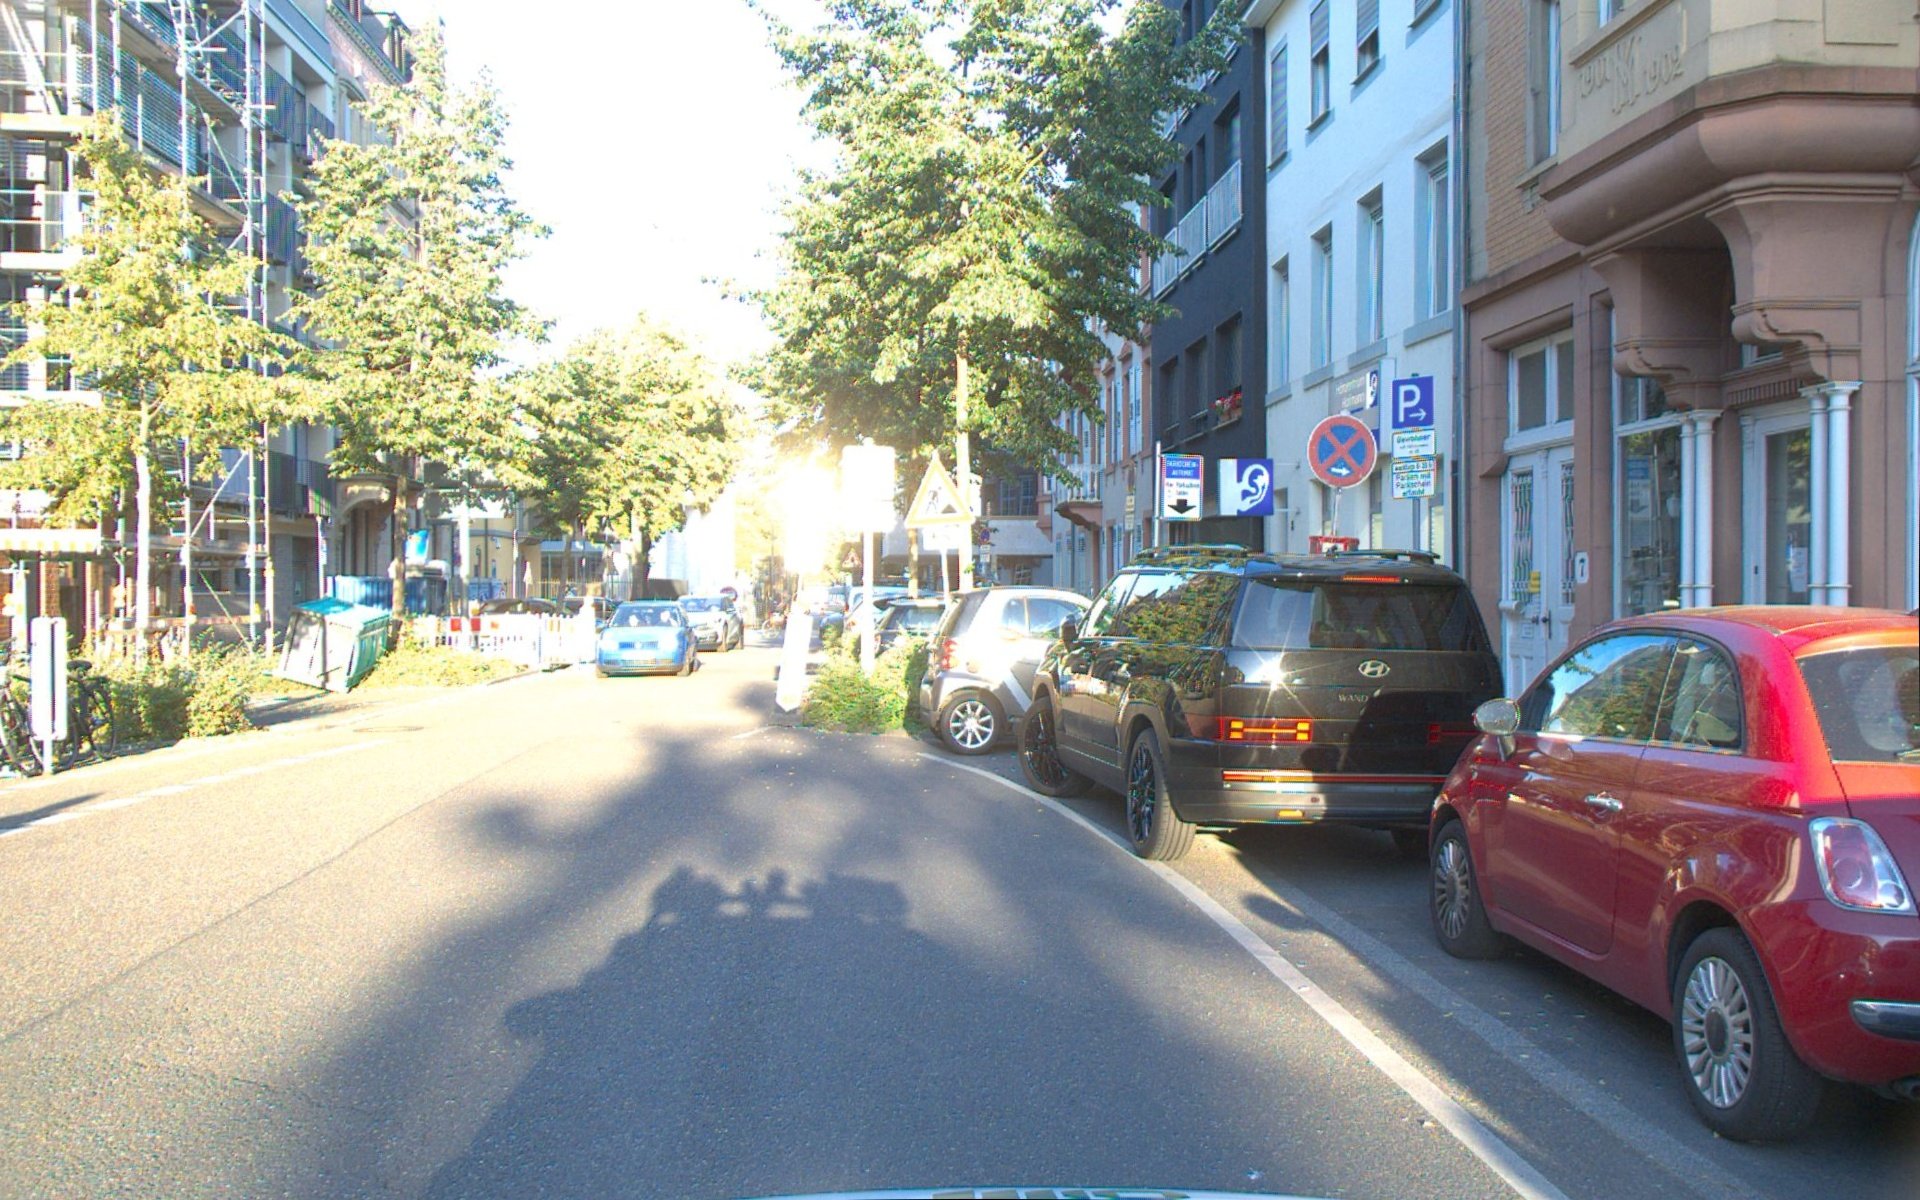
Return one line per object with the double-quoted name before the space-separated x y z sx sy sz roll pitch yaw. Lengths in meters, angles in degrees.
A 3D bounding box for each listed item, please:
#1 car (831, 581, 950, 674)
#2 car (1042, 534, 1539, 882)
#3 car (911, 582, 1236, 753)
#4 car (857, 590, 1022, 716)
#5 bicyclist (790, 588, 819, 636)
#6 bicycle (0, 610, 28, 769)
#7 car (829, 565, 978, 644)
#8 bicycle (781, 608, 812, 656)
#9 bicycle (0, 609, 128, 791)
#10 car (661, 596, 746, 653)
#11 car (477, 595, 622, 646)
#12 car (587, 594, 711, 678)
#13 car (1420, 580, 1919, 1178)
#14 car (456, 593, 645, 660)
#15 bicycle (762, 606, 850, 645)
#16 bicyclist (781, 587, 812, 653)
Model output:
"car" -1.670 0.610 37.970 2.223 1.796 4.502 6 -1 -7
"car" 1.793 0.557 10.488 1.790 1.725 4.362 1 0 -7
"car" 1.057 0.642 16.113 2.913 1.563 1.430 1 0 -9
"car" -0.410 0.734 24.787 1.956 1.697 4.502 1 0 -7
"bicyclist" -5.692 0.426 60.528 0.985 1.726 0.781 -1 0 -9
"bicycle" -8.836 0.805 13.880 0.877 1.420 3.156 0 0 -13
"car" -1.478 0.106 44.412 3.905 2.049 2.000 0 0 0
"bicycle" -4.365 0.842 44.059 0.766 1.225 2.018 -1 0 -6
"bicycle" -7.976 0.775 14.086 0.830 1.374 3.177 0 0 -13
"car" -7.218 0.662 46.907 1.847 1.506 4.457 1 0 -3
"car" -12.632 0.619 51.115 4.021 1.491 1.888 1 0 -3
"car" -5.956 0.643 32.109 1.802 1.466 4.329 0 1 -3
"car" 2.924 0.724 5.857 1.555 1.509 3.265 1 0 -2
"car" -9.657 0.619 39.252 4.021 1.491 1.888 1 0 -3
"bicycle" -5.637 0.929 60.497 3.119 1.374 0.845 -1 0 -11
"bicyclist" -4.359 0.527 44.029 0.766 1.726 1.006 -1 0 -7
